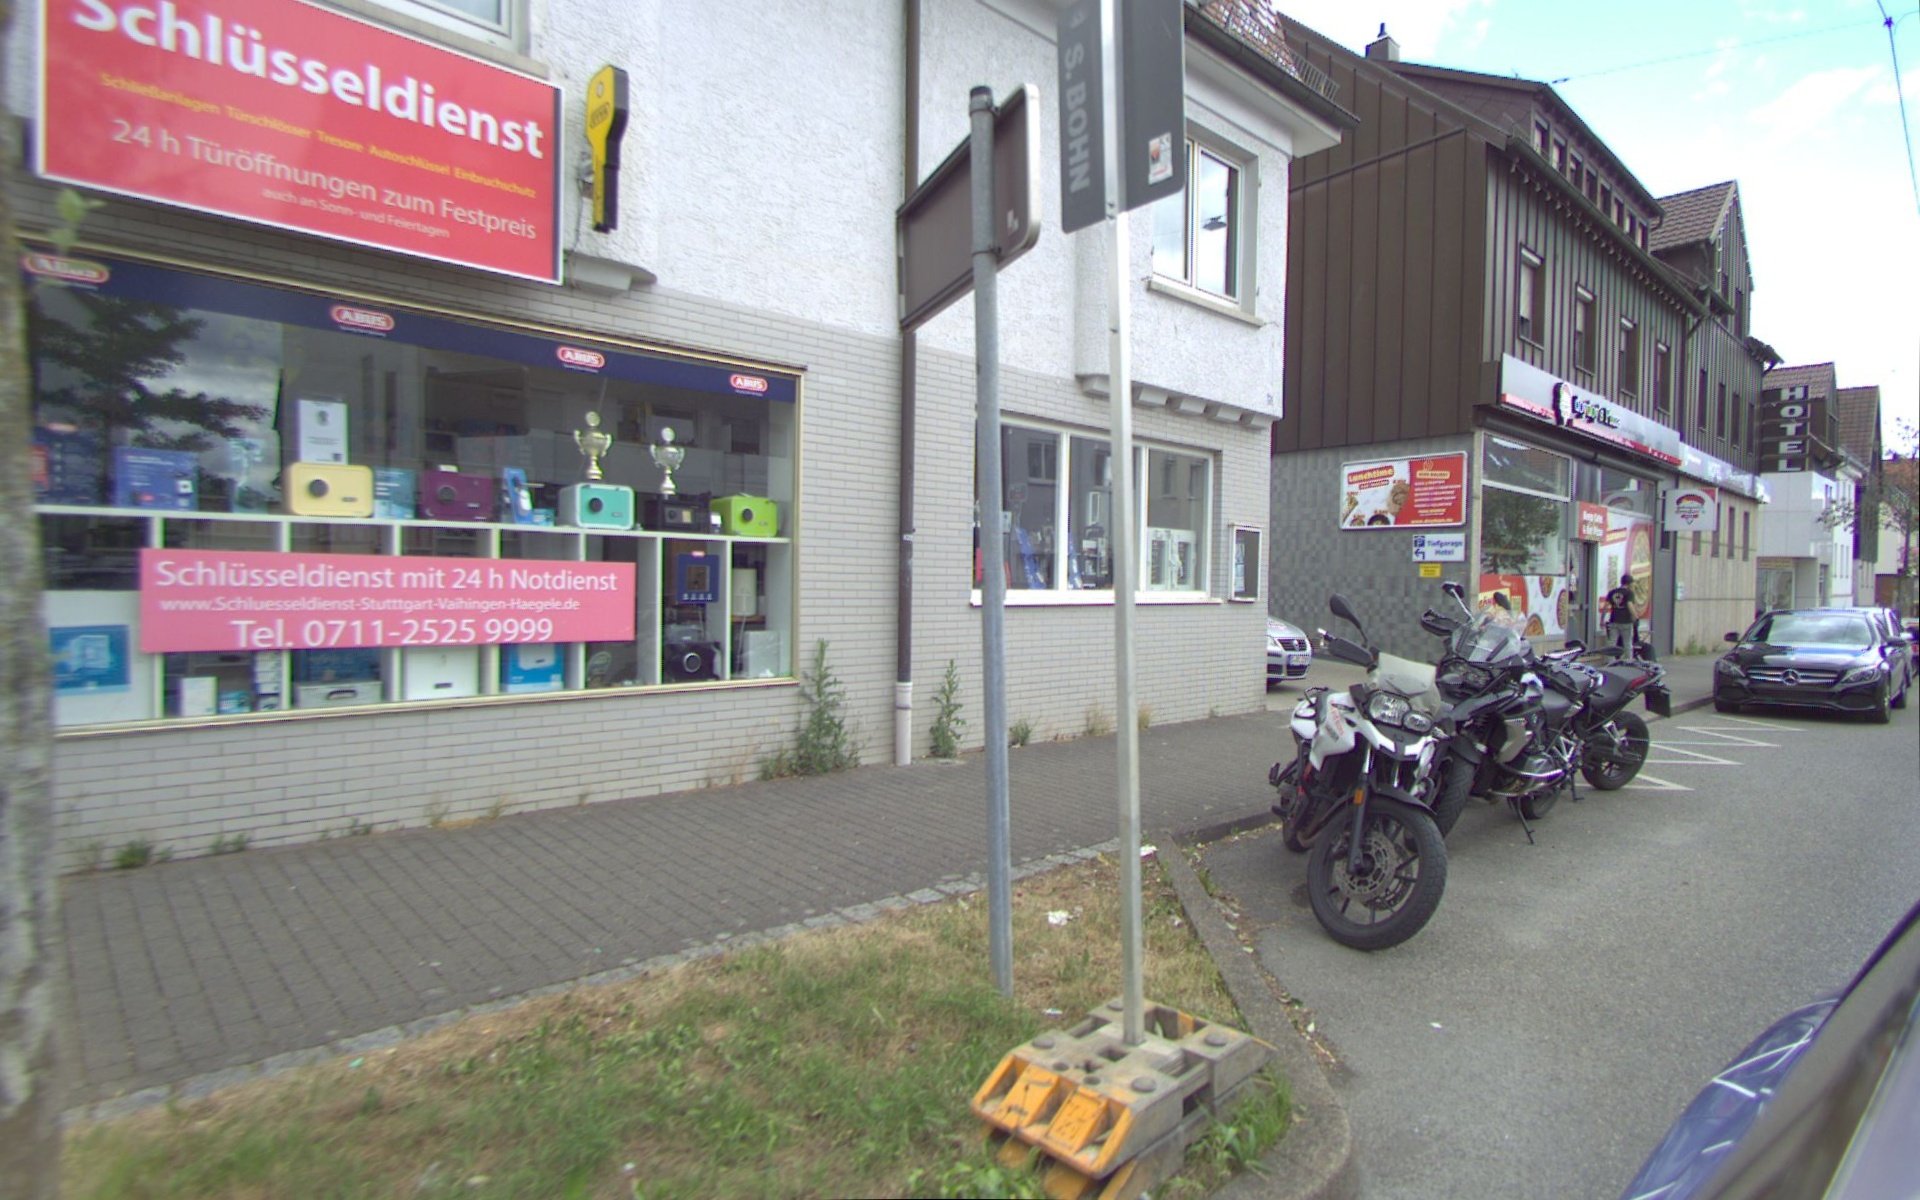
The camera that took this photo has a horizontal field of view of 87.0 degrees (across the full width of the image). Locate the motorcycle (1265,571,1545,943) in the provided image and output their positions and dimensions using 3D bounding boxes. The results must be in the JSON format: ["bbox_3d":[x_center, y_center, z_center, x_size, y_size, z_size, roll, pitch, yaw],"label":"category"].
[{"bbox_3d":[2.026,0.573,4.981,0.763,1.399,2.236,0,1,11],"label":"motorcycle"}]

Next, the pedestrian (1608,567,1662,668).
[{"bbox_3d":[12.239,0.303,18.346,0.642,1.762,0.731,3,2,43],"label":"pedestrian"}]

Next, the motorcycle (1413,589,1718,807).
[{"bbox_3d":[4.552,0.655,7.568,2.418,1.458,0.651,0,0,-23],"label":"motorcycle"}]

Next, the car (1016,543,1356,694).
[{"bbox_3d":[2.912,0.126,13.786,1.823,1.607,4.207,0,4,-42],"label":"car"}]

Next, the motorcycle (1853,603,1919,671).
[{"bbox_3d":[18.725,0.729,19.958,1.566,1.308,0.498,1,0,19],"label":"motorcycle"}]

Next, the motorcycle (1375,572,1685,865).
[{"bbox_3d":[3.641,0.613,6.337,2.548,1.544,0.673,0,0,-36],"label":"motorcycle"}]

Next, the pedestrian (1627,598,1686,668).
[{"bbox_3d":[12.917,0.598,18.770,0.633,1.226,0.741,0,2,-42],"label":"pedestrian"}]

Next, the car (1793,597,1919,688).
[{"bbox_3d":[16.603,0.687,18.518,3.837,1.460,1.642,0,1,-43],"label":"car"}]

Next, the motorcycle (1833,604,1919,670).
[{"bbox_3d":[19.158,0.746,20.782,1.841,1.308,0.531,0,0,10],"label":"motorcycle"}]

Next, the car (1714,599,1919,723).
[{"bbox_3d":[12.188,0.722,14.201,4.488,1.426,1.827,0,1,-43],"label":"car"}]
